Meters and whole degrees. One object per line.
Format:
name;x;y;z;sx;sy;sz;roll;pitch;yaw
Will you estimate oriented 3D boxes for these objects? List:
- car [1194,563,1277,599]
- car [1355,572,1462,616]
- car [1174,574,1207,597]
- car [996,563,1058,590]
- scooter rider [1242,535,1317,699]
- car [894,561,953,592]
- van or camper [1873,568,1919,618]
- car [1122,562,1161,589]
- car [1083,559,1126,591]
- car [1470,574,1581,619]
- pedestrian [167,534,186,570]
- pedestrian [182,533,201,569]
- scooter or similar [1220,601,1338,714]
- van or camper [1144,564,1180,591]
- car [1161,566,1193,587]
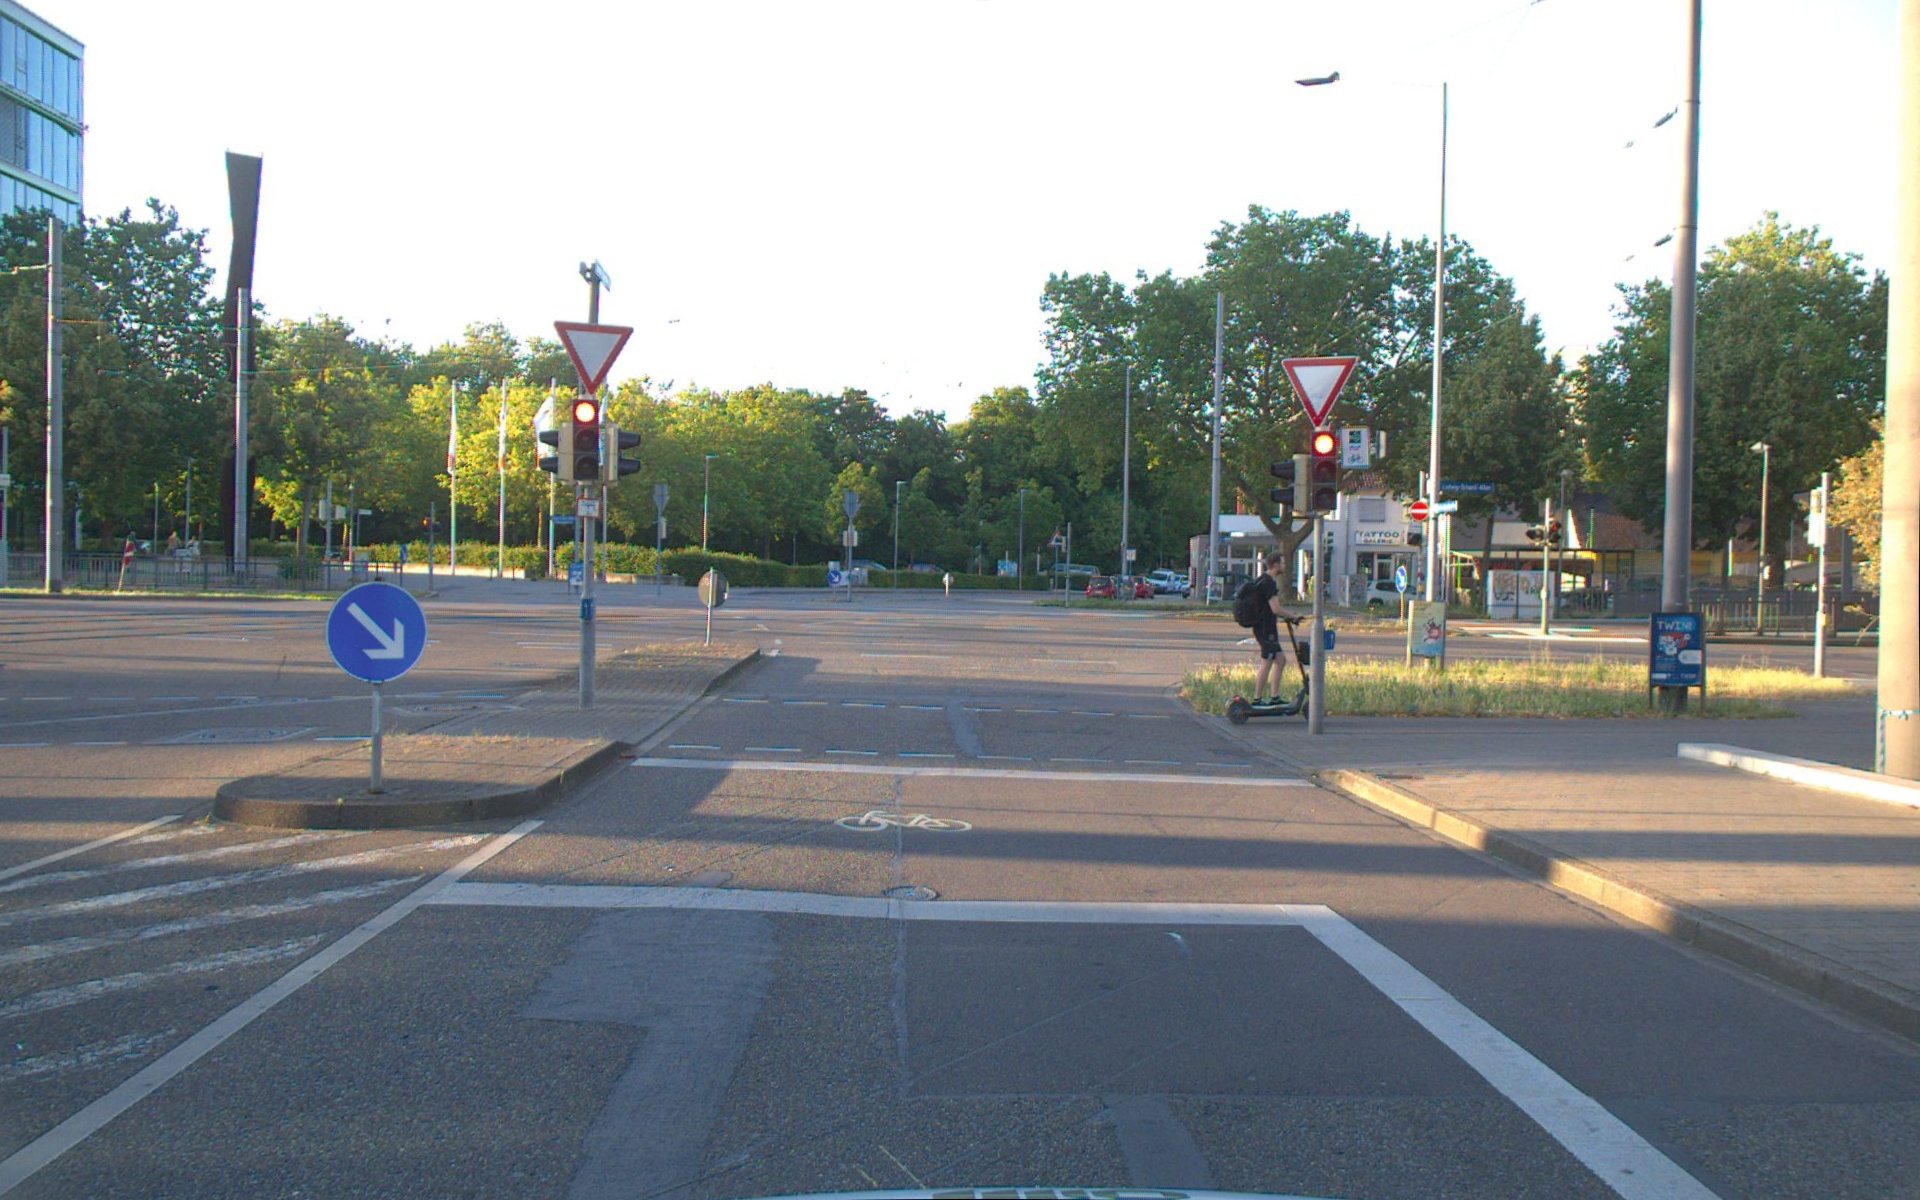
car;15.380;-1.078;92.501;4.373;1.848;1.947;1;2;4
car;20.560;-0.302;75.939;4.375;1.848;1.946;1;2;0
car;16.462;-1.057;118.155;1.467;1.503;3.083;2;3;25
car;5.100;-1.823;125.834;4.585;1.901;2.015;1;2;5
scooter rider;3.596;0.188;18.647;0.692;1.813;0.442;1;2;-5
car;-2.490;-1.614;112.207;3.980;1.937;1.787;1;2;-2
van or camper;45.373;-0.287;76.966;4.561;2.218;2.077;1;2;0
car;11.696;-1.572;106.434;1.467;1.634;3.401;2;3;25
car;8.694;-1.505;99.026;1.467;1.791;3.401;2;3;25
car;25.818;-0.177;75.555;4.375;1.848;1.946;1;2;0
pedestrian;-44.180;-2.716;93.267;0.681;2.048;0.699;2;2;18
pedestrian;-43.828;-2.781;94.370;0.681;2.048;0.699;2;2;18
scooter or similar;3.593;0.641;18.671;1.190;1.221;0.503;1;2;-5
van or camper;16.380;-1.836;134.209;1.594;2.016;3.801;2;3;28
car;18.123;-1.937;137.907;1.469;1.634;3.398;2;3;28
